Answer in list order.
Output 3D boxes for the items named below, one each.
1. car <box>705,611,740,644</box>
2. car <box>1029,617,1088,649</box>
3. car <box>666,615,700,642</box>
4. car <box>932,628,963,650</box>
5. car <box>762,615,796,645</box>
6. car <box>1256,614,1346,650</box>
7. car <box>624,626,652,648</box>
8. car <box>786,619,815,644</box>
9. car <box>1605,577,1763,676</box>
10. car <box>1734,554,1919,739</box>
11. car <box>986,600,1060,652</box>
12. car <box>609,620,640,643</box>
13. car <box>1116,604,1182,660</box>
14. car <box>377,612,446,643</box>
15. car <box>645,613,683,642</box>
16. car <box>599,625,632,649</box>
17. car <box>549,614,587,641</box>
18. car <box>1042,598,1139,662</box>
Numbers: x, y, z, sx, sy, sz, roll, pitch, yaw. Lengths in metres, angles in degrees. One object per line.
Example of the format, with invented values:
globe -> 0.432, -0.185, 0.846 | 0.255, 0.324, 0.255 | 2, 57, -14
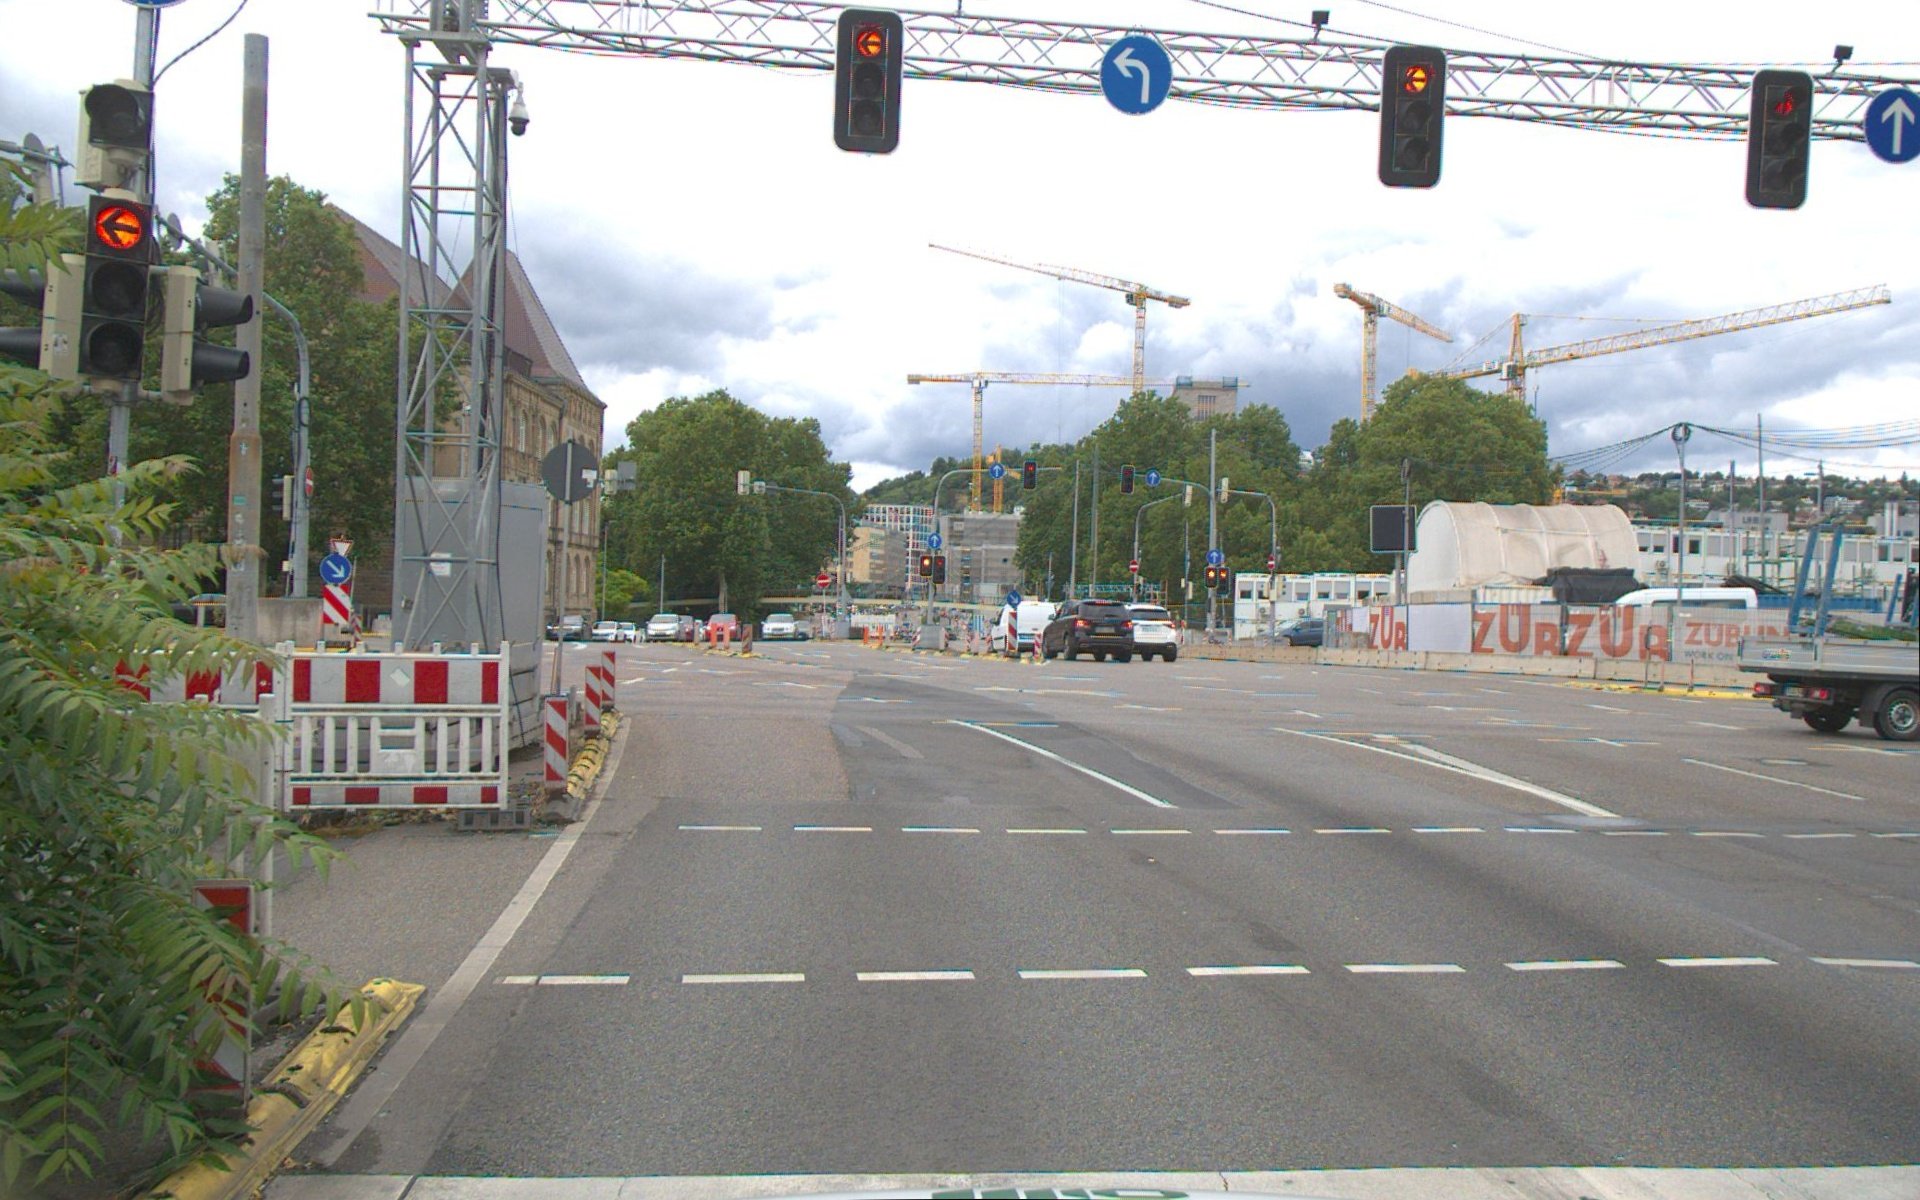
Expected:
car -> -12.124, 1.381, 84.522 | 1.644, 1.608, 3.677 | 1, 0, -7
car -> 4.510, 1.510, 76.041 | 1.650, 1.422, 3.070 | 1, 0, -19
car -> -15.296, 1.551, 91.542 | 1.644, 1.422, 3.677 | 1, 0, -7
car -> -0.919, 2.724, 115.747 | 1.645, 1.422, 3.675 | 1, 0, -9
car -> -9.300, 1.524, 84.932 | 1.644, 1.422, 3.677 | 1, 0, -7
car -> 16.568, 1.546, 80.469 | 3.927, 1.653, 1.812 | 1, 0, -20
car -> -22.459, 2.592, 115.350 | 1.644, 1.422, 3.677 | 1, 0, -7
car -> -9.477, 1.855, 98.263 | 1.644, 1.422, 3.677 | 1, 0, -7
car -> 20.819, 0.748, 47.682 | 3.902, 2.708, 1.683 | 1, 0, 13
car -> 13.833, 0.643, 22.409 | 5.643, 2.345, 2.302 | 1, 0, -2
car -> 2.077, 0.852, 55.553 | 1.783, 1.653, 3.993 | 1, 0, -8
car -> -21.938, 2.063, 108.197 | 1.644, 1.423, 3.677 | 1, -1, -6
car -> 6.038, 0.999, 53.131 | 1.642, 1.732, 3.374 | 1, 0, -1
car -> -25.843, 1.278, 78.019 | 1.640, 1.422, 3.686 | 1, 0, 8
car -> -15.256, 1.423, 85.383 | 1.644, 1.422, 3.677 | 1, 0, -7
car -> -21.041, 2.248, 101.188 | 1.644, 1.422, 3.677 | 1, 0, -7
car -> -21.642, 1.492, 91.391 | 1.644, 1.422, 3.677 | 1, 0, -7
car -> 3.774, 0.842, 48.532 | 1.799, 1.776, 4.245 | 1, 0, -10
